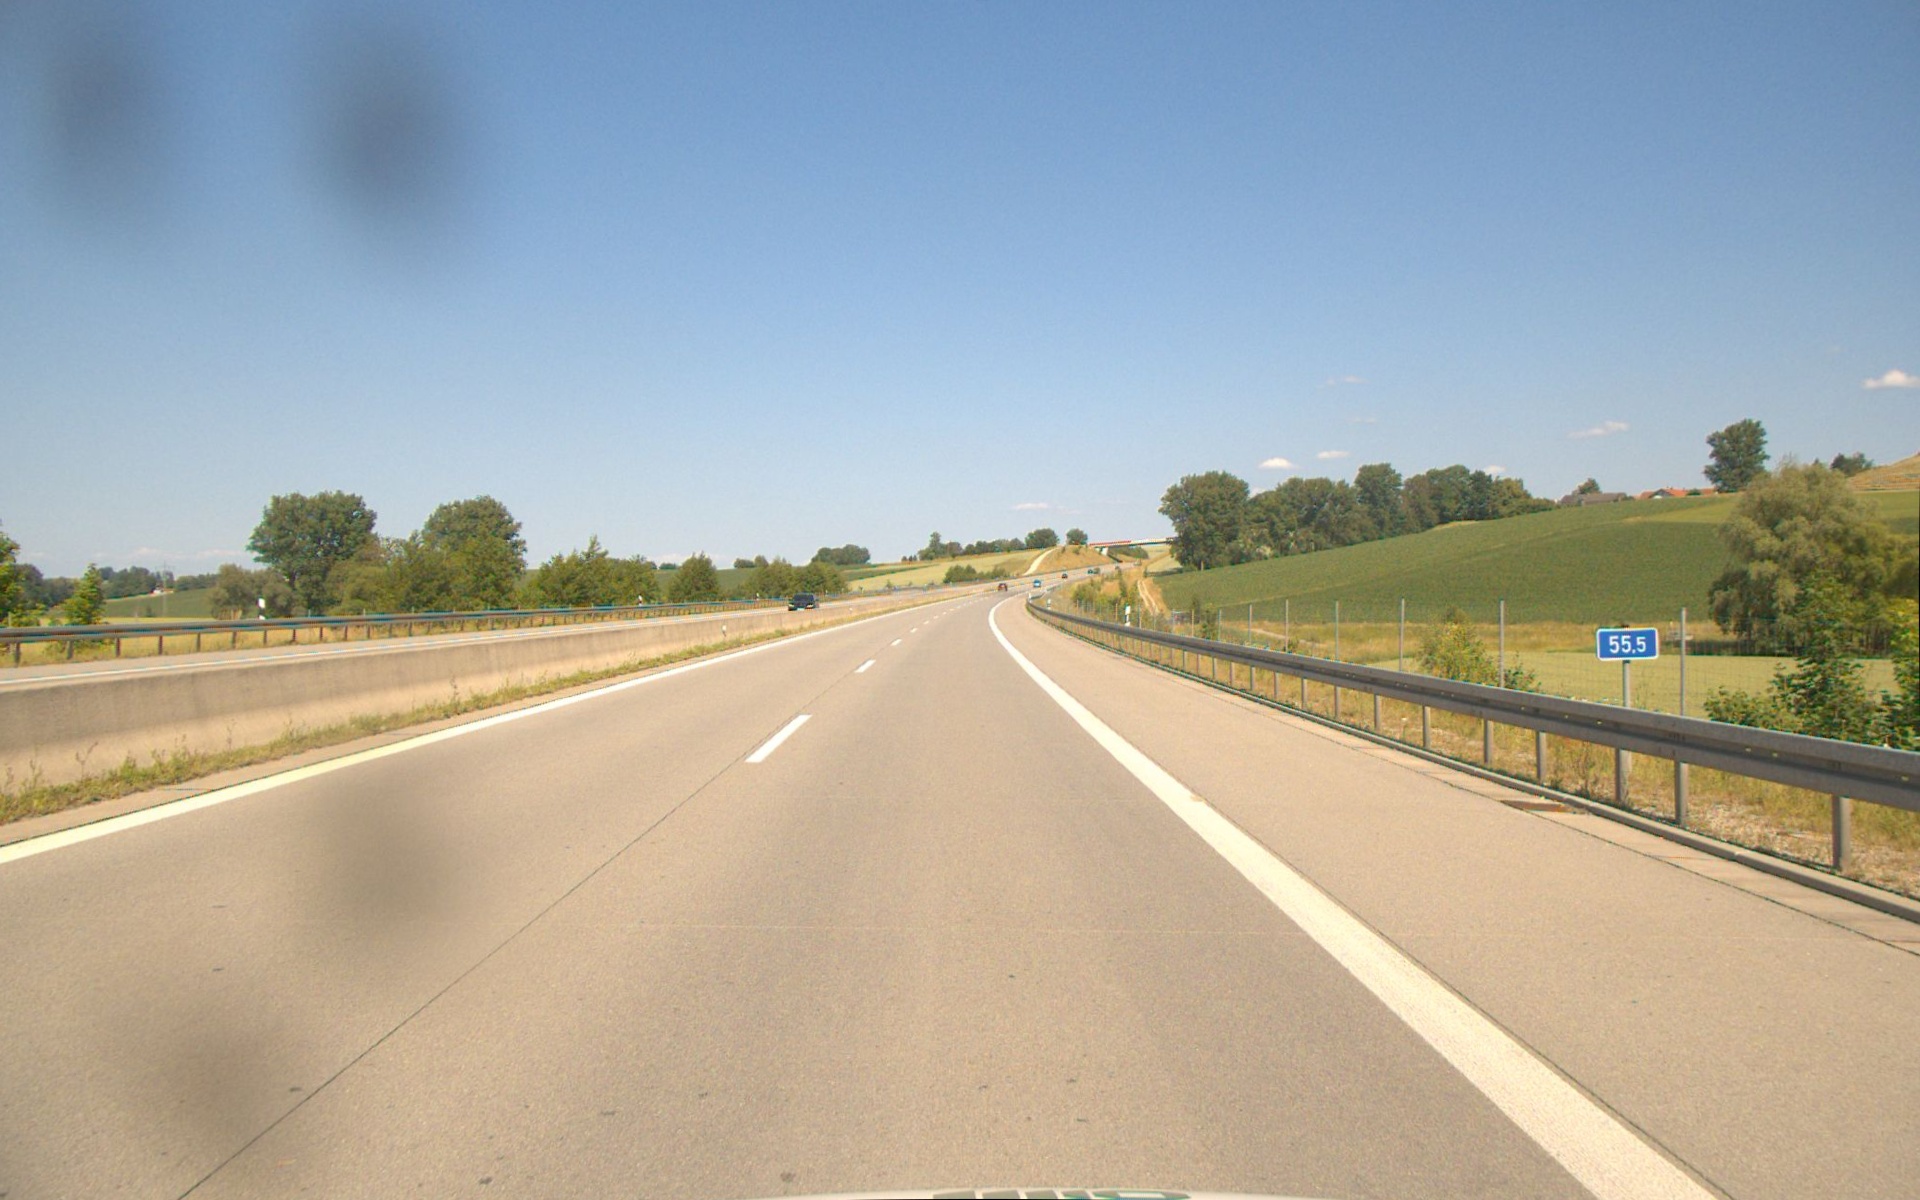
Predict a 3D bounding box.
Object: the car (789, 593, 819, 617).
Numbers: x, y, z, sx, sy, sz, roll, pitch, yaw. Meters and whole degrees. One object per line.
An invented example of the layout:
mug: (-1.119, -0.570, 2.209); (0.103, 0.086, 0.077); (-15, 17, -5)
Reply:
car: (-10.836, 0.372, 115.187); (1.676, 1.617, 4.626); (1, 0, -1)
